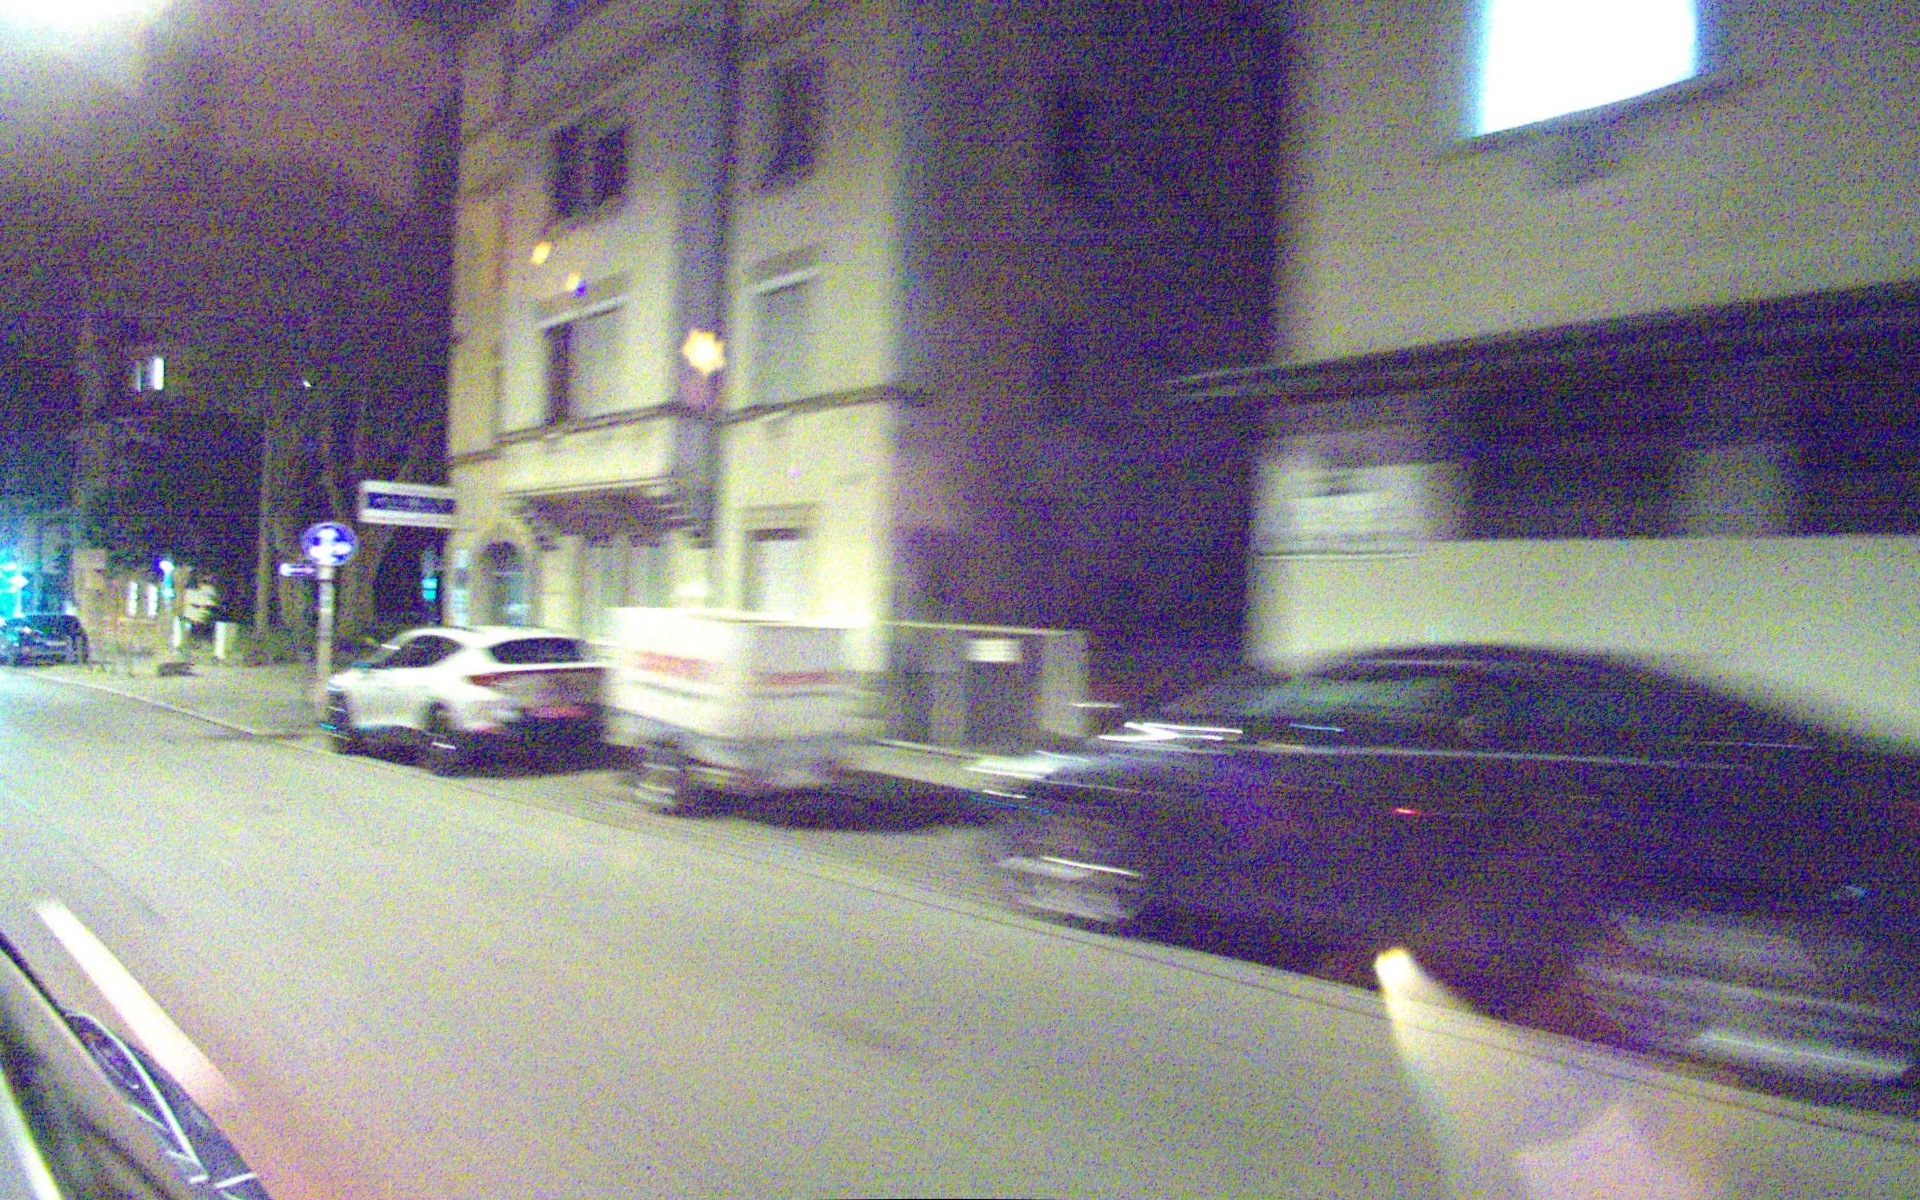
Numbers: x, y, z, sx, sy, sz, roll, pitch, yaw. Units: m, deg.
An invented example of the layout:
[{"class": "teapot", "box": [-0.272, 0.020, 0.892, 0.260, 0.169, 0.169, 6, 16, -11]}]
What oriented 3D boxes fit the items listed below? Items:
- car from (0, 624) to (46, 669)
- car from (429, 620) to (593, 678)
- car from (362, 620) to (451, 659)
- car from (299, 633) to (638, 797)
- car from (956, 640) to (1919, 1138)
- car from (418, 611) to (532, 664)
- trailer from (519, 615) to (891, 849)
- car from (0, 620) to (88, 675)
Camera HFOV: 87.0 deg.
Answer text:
[{"class": "car", "box": [-34.493, 1.655, 36.477, 3.696, 1.526, 1.632, -1, -2, 37]}, {"class": "car", "box": [-12.689, 1.336, 28.697, 3.937, 1.436, 1.765, -1, 0, -40]}, {"class": "car", "box": [-19.613, 1.374, 35.809, 3.559, 1.327, 1.540, -1, -2, 39]}, {"class": "car", "box": [-5.699, 1.148, 11.510, 4.343, 1.496, 1.796, -1, -3, 39]}, {"class": "car", "box": [2.297, 0.926, 4.618, 4.540, 1.458, 1.816, -2, -4, 40]}, {"class": "car", "box": [-15.668, 1.164, 32.604, 4.184, 1.549, 1.738, -1, 0, 40]}, {"class": "trailer", "box": [-2.365, 0.968, 8.955, 3.440, 1.652, 1.619, -1, -2, 44]}, {"class": "car", "box": [-29.992, 1.523, 32.710, 4.664, 1.663, 1.831, -2, -3, 37]}]
